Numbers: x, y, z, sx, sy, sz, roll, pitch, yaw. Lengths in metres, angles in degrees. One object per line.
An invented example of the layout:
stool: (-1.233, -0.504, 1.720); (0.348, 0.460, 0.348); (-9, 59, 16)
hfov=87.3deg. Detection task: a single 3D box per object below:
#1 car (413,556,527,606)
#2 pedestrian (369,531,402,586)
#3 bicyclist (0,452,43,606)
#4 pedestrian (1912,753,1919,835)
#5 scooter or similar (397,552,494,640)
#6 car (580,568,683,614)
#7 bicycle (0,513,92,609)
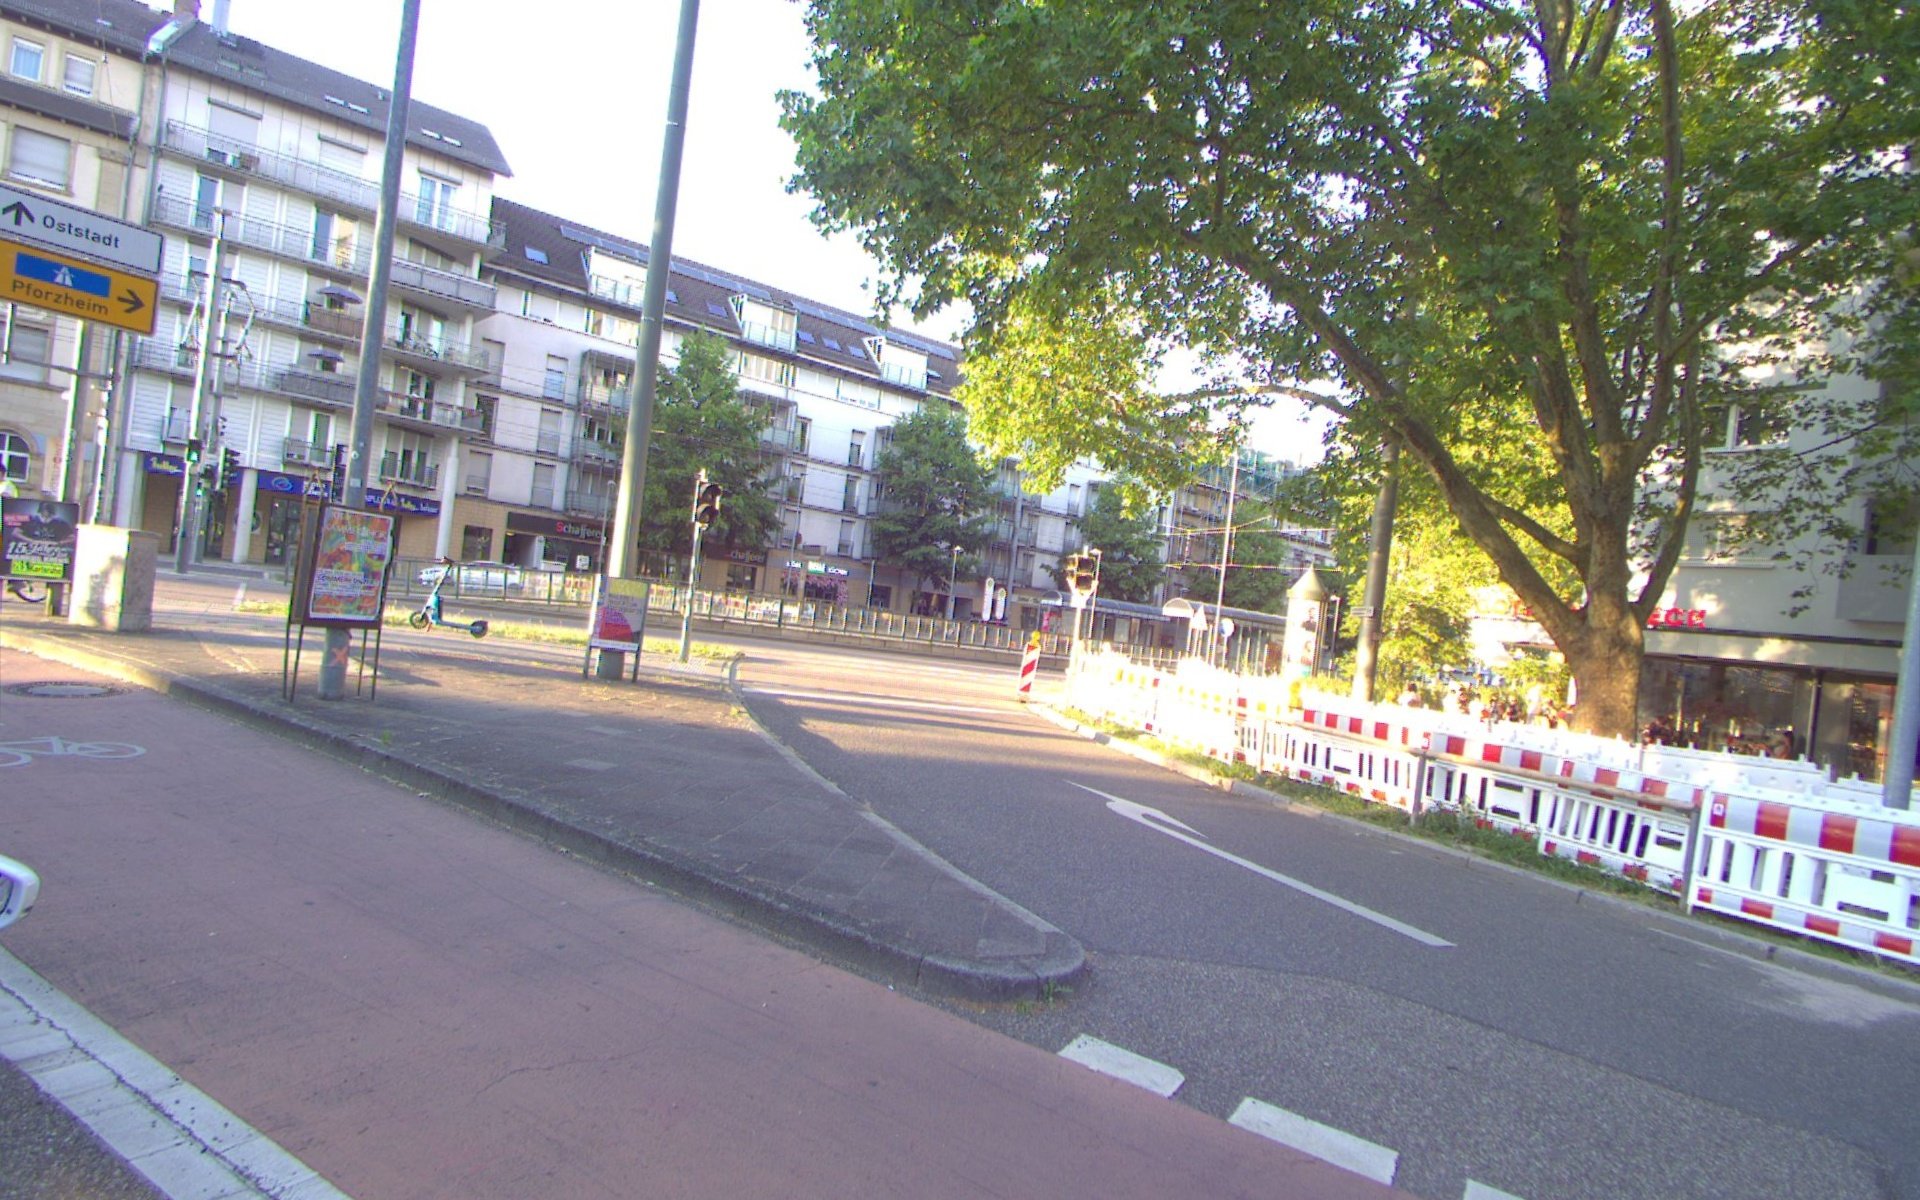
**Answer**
car: (-20.383, -0.779, 41.898); (3.964, 1.503, 1.833); (9, -2, -34)
pedestrian: (-24.752, -1.783, 43.335); (0.864, 2.234, 0.812); (8, -1, -39)
bicyclist: (-11.953, -0.891, 12.295); (0.617, 1.845, 0.699); (7, -1, 0)
pedestrian: (15.688, 2.967, 15.838); (0.733, 1.607, 0.641); (6, -1, 25)
scooter or similar: (-8.422, -0.051, 16.508); (1.217, 1.264, 0.513); (8, -1, -19)
car: (-14.937, -0.410, 45.855); (3.970, 1.503, 1.830); (9, -3, -39)
bicycle: (-12.001, -0.523, 12.441); (0.617, 1.122, 2.073); (7, -2, 0)
